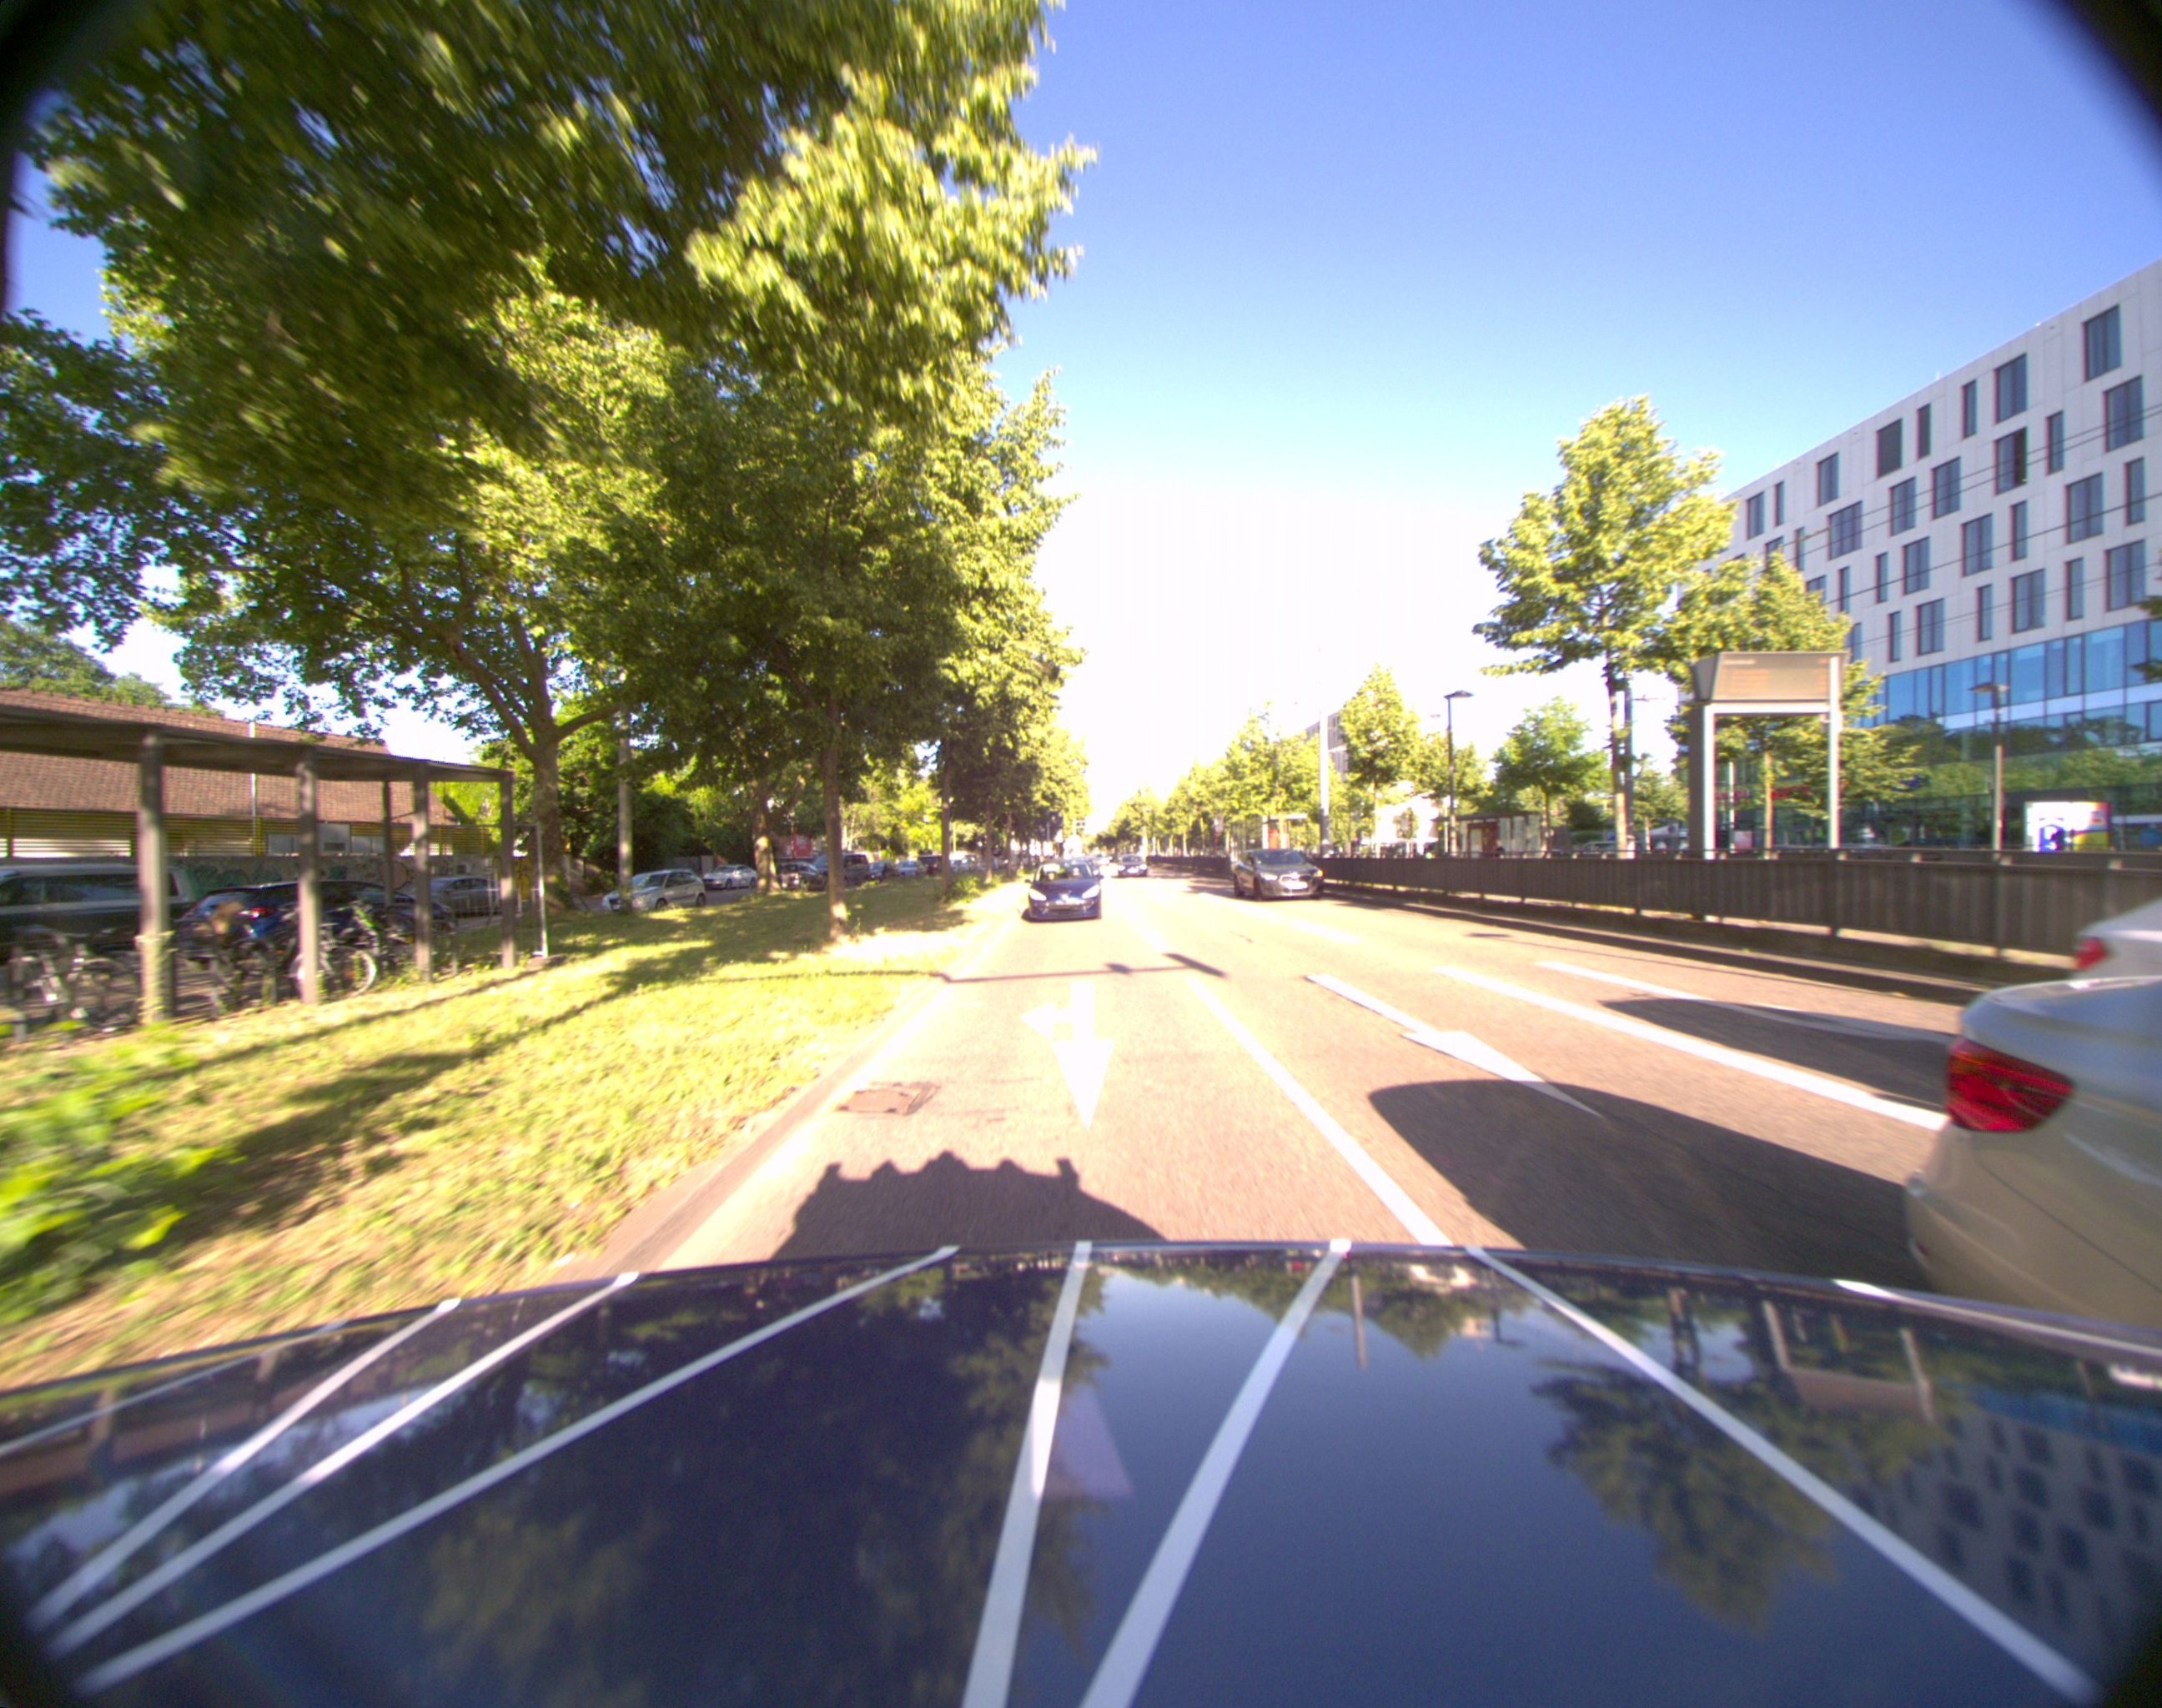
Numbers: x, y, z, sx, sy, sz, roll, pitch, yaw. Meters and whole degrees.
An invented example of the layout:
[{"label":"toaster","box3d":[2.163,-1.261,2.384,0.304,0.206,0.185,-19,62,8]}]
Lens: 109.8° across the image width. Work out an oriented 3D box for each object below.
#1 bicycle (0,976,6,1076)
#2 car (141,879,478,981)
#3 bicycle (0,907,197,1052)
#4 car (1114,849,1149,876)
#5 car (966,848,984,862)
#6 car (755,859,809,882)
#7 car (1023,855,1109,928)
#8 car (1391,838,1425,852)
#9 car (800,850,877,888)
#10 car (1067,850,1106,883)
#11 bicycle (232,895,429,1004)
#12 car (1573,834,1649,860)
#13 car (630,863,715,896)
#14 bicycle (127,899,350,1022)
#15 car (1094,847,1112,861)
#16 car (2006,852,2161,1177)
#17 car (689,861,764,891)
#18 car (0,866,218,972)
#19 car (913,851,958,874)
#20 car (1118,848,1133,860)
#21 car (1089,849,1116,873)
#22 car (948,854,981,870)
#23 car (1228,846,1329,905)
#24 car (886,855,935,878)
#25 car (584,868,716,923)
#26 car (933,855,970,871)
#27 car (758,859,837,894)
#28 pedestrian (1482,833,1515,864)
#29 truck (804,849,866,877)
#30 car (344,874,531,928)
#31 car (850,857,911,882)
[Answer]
[{"label":"bicycle","box3d":[-8.979,1.108,5.558,1.699,1.162,0.551,-2,1,9]},{"label":"car","box3d":[-14.562,1.340,14.800,1.898,1.479,4.347,-2,0,5]},{"label":"bicycle","box3d":[-8.969,1.096,6.712,1.700,1.162,0.551,-2,1,3]},{"label":"car","box3d":[3.104,0.499,47.598,1.803,1.518,4.342,-3,1,-1]},{"label":"car","box3d":[-15.859,0.203,114.352,1.998,2.002,4.000,-2,1,1]},{"label":"car","box3d":[-20.392,1.115,52.035,1.795,1.394,4.172,-2,0,4]},{"label":"car","box3d":[-0.252,0.865,19.501,1.802,1.518,4.606,-3,1,3]},{"label":"car","box3d":[34.378,-0.934,79.907,1.875,1.347,4.000,-3,1,1]},{"label":"car","box3d":[-12.466,0.722,39.453,2.037,1.732,5.022,-2,1,4]},{"label":"car","box3d":[0.293,0.602,39.190,1.803,1.518,4.605,-3,1,1]},{"label":"bicycle","box3d":[-8.833,1.114,8.972,1.807,1.162,0.551,-2,1,4]},{"label":"car","box3d":[34.171,-0.442,49.176,1.803,1.518,4.342,-3,1,-1]},{"label":"car","box3d":[-21.359,1.269,39.961,1.999,1.520,4.654,1,0,0]},{"label":"bicycle","box3d":[-8.747,1.094,7.920,1.700,1.162,0.551,-2,1,2]},{"label":"car","box3d":[2.657,0.013,91.280,1.998,1.543,4.001,-1,0,3]},{"label":"car","box3d":[5.709,0.712,1.966,1.676,1.418,4.004,-3,1,-2]},{"label":"car","box3d":[-21.097,1.269,45.486,1.998,1.520,4.655,-2,0,4]},{"label":"car","box3d":[-22.404,1.325,16.283,1.898,2.025,5.071,0,1,2]},{"label":"car","box3d":[-10.983,0.629,57.529,1.997,1.587,4.656,-2,1,6]},{"label":"car","box3d":[5.444,-0.017,93.040,1.675,1.418,4.005,-3,1,1]},{"label":"car","box3d":[1.537,0.497,54.783,1.803,1.518,4.605,-3,1,2]},{"label":"car","box3d":[-10.447,0.686,68.539,1.998,1.308,4.546,-2,0,3]},{"label":"car","box3d":[5.809,0.560,22.881,1.803,1.518,4.342,-3,1,-1]},{"label":"car","box3d":[-11.644,0.825,52.163,1.998,1.355,4.866,-2,0,3]},{"label":"car","box3d":[-13.772,1.259,24.580,1.898,1.477,4.049,-2,1,0]},{"label":"car","box3d":[-10.680,0.733,62.995,1.998,1.203,4.115,-2,0,5]},{"label":"car","box3d":[-12.738,0.962,34.358,1.942,1.372,3.914,-2,0,2]},{"label":"pedestrian","box3d":[19.807,-0.261,36.058,1.068,1.458,0.844,-2,1,5]},{"label":"truck","box3d":[-19.729,0.690,61.397,2.454,2.063,6.581,-2,0,3]},{"label":"car","box3d":[-21.838,1.530,26.128,1.898,1.477,4.915,-2,0,5]},{"label":"car","box3d":[-11.843,0.885,45.248,1.998,1.242,4.656,-2,0,5]}]
